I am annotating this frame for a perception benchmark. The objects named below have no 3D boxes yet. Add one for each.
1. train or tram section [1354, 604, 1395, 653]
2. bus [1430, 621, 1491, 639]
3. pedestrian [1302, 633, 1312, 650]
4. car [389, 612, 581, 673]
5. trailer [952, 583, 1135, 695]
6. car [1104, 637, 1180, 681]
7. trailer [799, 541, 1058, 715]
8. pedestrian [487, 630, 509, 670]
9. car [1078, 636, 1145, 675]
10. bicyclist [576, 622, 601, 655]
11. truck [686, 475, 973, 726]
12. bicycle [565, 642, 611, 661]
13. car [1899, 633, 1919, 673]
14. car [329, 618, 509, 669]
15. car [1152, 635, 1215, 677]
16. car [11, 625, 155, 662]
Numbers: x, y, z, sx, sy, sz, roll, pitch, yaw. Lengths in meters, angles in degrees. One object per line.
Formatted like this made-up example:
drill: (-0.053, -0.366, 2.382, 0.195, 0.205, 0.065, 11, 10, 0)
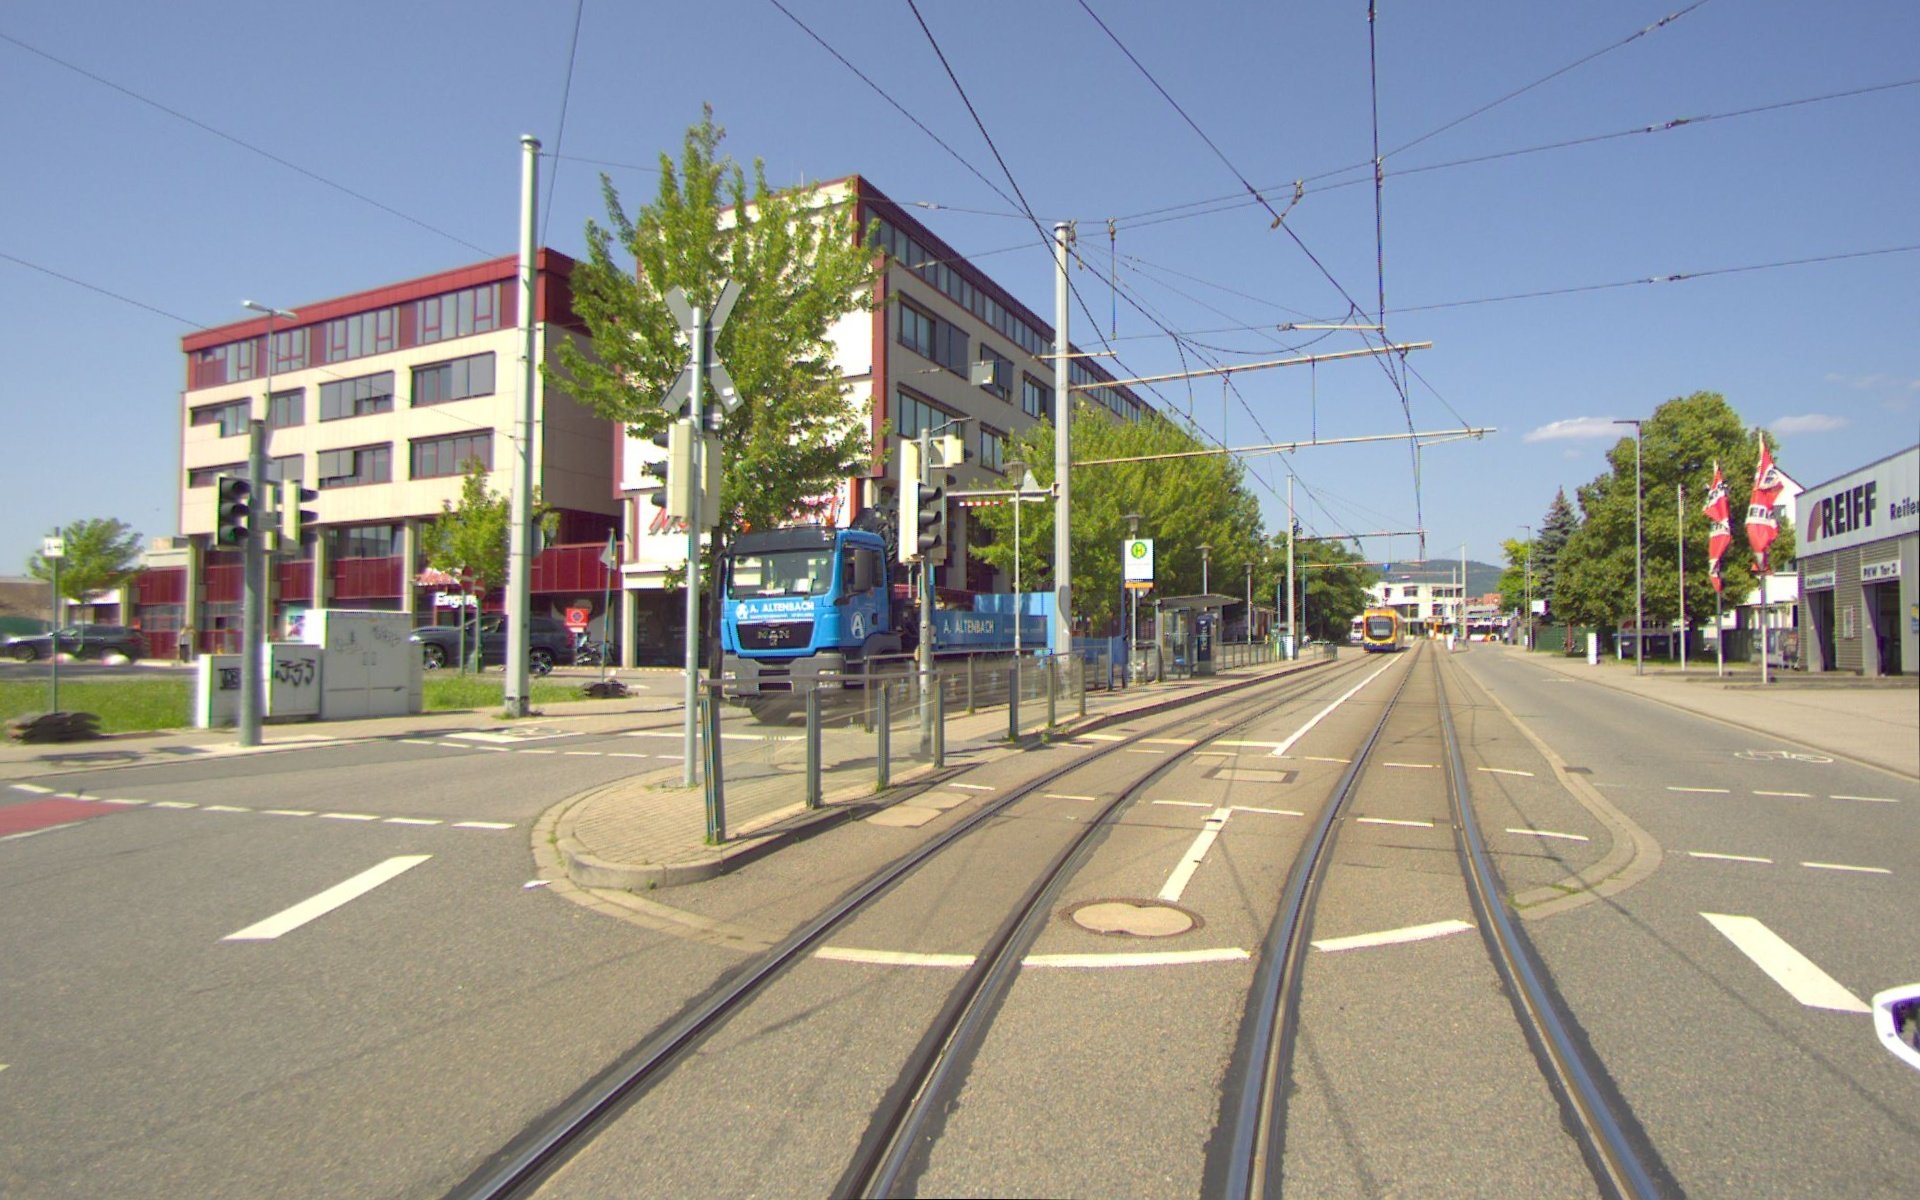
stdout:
train or tram section: (31.838, 2.180, 77.025, 2.570, 3.579, 5.738, -1, -2, 25)
bus: (81.840, 4.898, 164.369, 8.613, 2.918, 2.446, 0, -2, 9)
pedestrian: (32.149, 3.841, 93.059, 0.821, 1.557, 0.838, -2, -2, 25)
car: (-14.313, 1.341, 30.465, 5.051, 1.614, 2.173, 3, -5, -27)
trailer: (2.574, 1.055, 27.831, 2.752, 2.662, 7.597, -1, -2, 24)
car: (6.711, 2.114, 36.641, 1.696, 1.491, 4.277, -3, -3, 24)
trailer: (-0.344, 0.612, 21.202, 2.700, 3.017, 6.894, -1, -2, 24)
pedestrian: (-15.819, 1.718, 34.423, 0.511, 1.374, 0.463, 0, -1, 2)
car: (6.489, 2.318, 42.607, 1.696, 1.482, 3.900, 0, -1, 26)
bicyclist: (-16.870, 1.734, 45.627, 0.905, 1.467, 0.721, 1, 0, -9)
truck: (-2.023, 0.097, 17.463, 2.700, 3.656, 5.036, -1, -2, 24)
bicycle: (-16.892, 2.347, 45.629, 1.810, 0.804, 0.727, 1, 0, -10)
car: (35.259, 1.813, 34.716, 3.700, 1.394, 1.725, -1, -2, 21)
car: (-17.173, 1.419, 32.182, 4.798, 1.512, 1.909, 2, -3, -22)
car: (9.364, 2.301, 41.795, 1.696, 1.605, 4.069, -4, -3, 24)
car: (-36.726, 1.810, 42.201, 4.177, 1.470, 1.714, 1, -2, -21)
